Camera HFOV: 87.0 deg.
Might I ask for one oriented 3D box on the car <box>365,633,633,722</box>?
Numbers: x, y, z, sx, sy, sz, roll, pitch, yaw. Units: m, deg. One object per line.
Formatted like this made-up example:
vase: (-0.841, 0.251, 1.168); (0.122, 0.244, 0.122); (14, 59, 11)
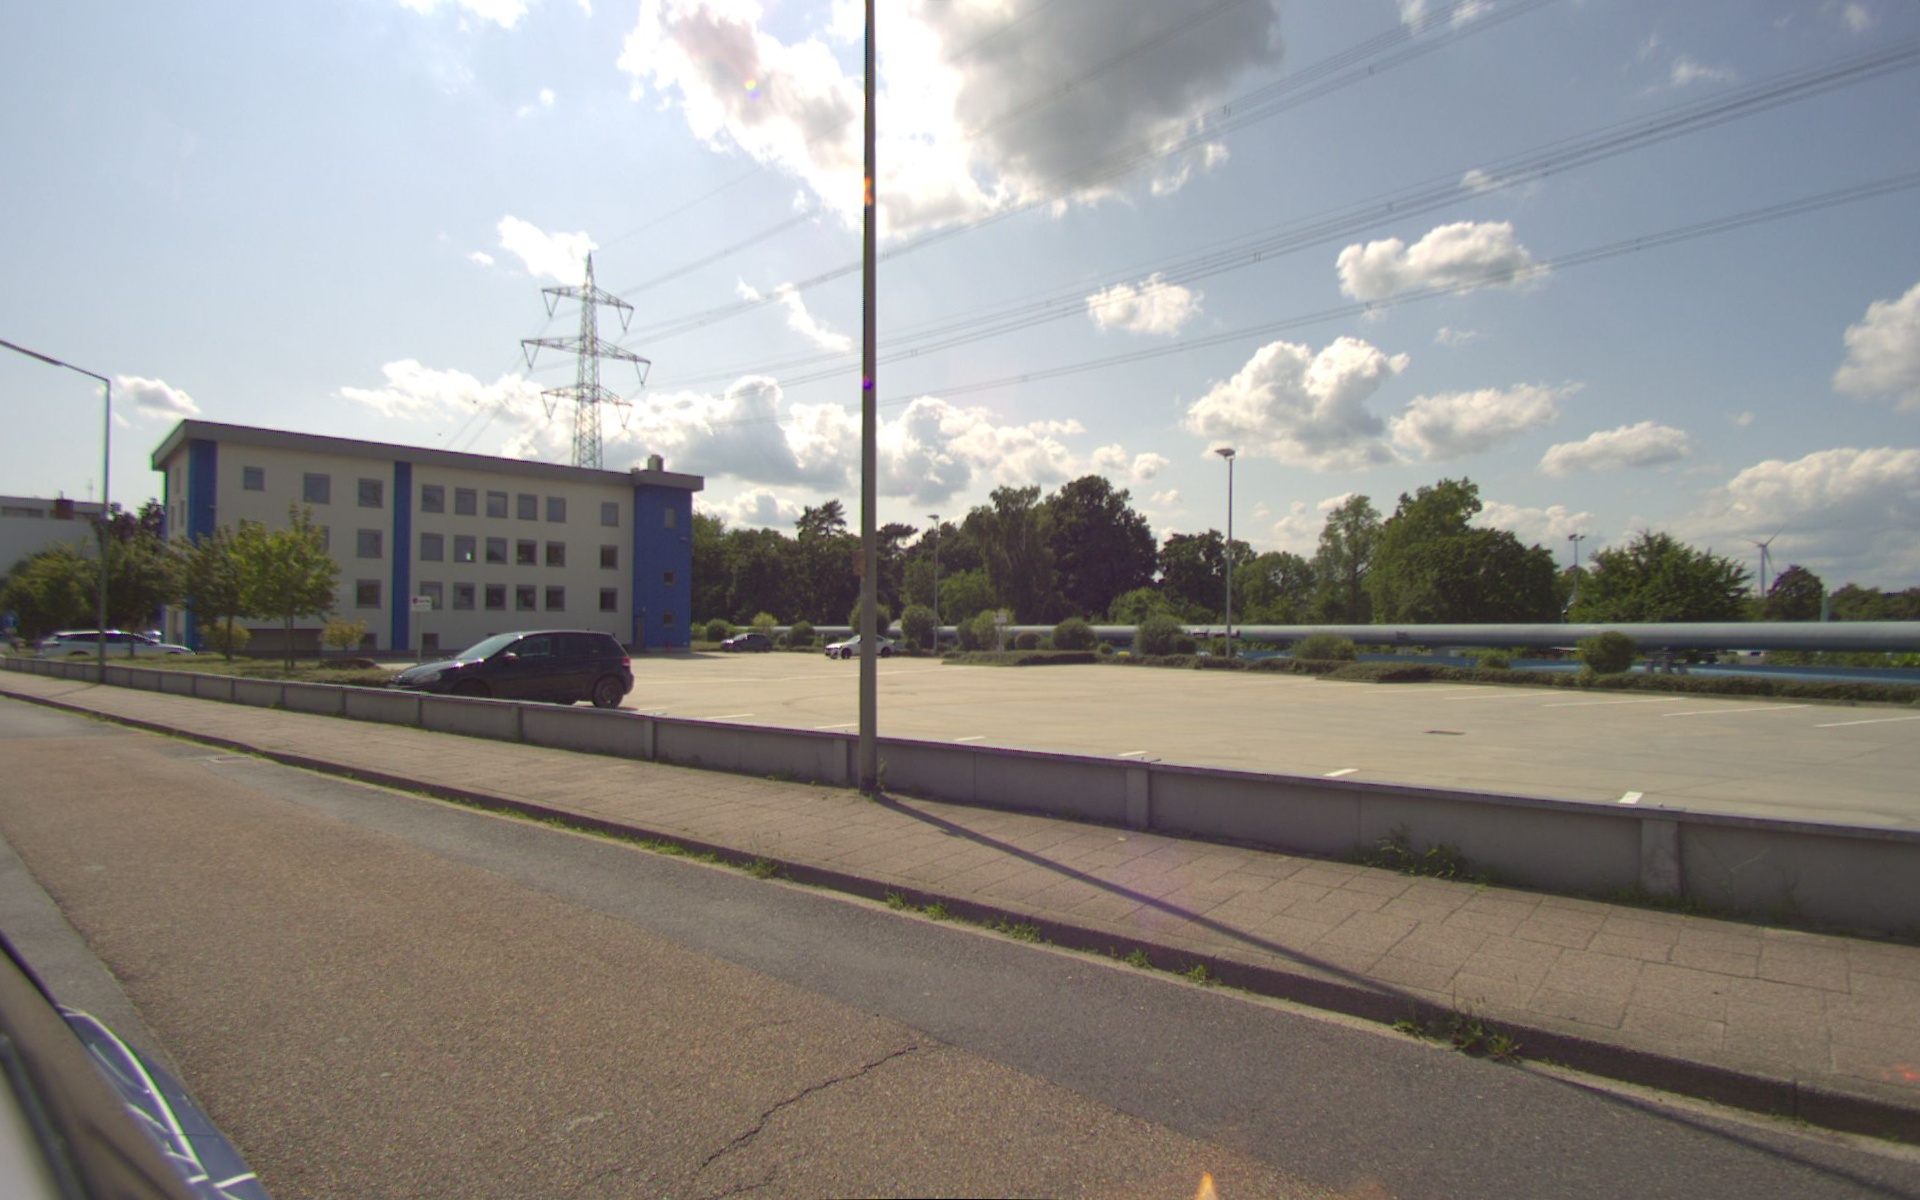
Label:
car: (-8.050, 1.303, 17.963); (1.802, 1.386, 3.947); (-2, -3, 40)

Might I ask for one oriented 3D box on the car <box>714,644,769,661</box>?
car: (-16.292, 3.909, 75.535); (3.554, 1.261, 1.806); (2, -3, -42)

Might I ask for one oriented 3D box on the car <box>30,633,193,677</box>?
car: (-33.736, 2.135, 40.367); (1.998, 1.615, 4.706); (-2, -2, 40)

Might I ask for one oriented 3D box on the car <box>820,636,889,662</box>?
car: (-6.381, 2.948, 61.210); (3.763, 1.485, 1.807); (2, -3, -37)

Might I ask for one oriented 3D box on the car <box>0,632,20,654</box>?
car: (-76.840, 3.388, 79.864); (1.877, 1.721, 3.611); (-1, -3, 39)

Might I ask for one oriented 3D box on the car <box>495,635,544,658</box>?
car: (-27.749, 2.912, 63.729); (3.681, 1.386, 1.545); (-2, -3, 44)
